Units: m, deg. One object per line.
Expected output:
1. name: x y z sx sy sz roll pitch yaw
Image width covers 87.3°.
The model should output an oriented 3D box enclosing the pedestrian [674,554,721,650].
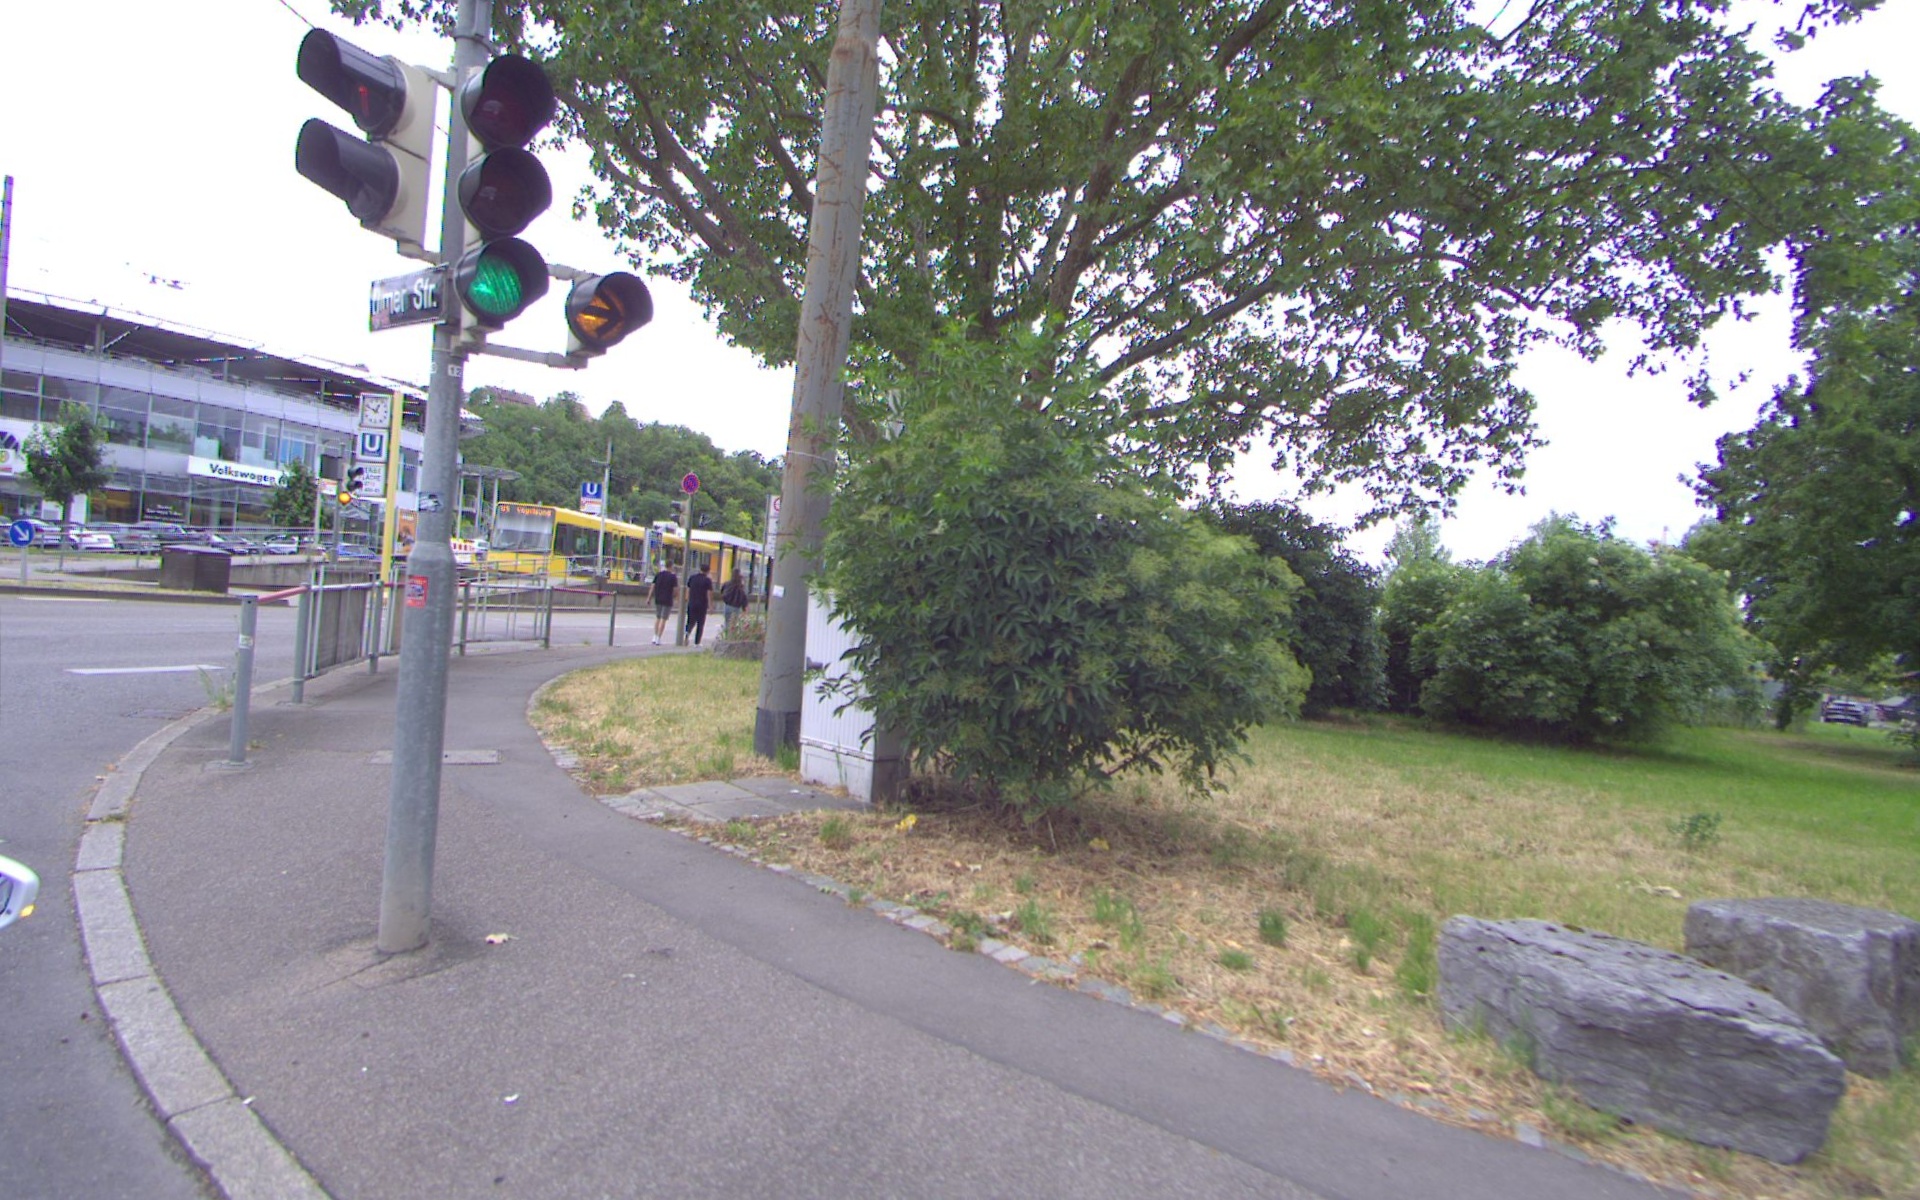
1. pedestrian: -5.349 0.047 20.525 0.593 1.890 0.672 5 0 4

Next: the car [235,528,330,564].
1. car: -37.092 -2.942 55.102 3.923 1.574 1.927 5 1 7

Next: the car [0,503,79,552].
1. car: -38.274 -3.008 40.388 3.926 1.571 1.930 6 -4 -1

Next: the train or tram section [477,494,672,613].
1. train or tram section: -15.469 -1.647 41.835 2.697 4.017 11.910 5 0 3

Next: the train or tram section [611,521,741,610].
1. train or tram section: -14.829 -1.634 53.795 2.697 4.017 11.910 5 0 3

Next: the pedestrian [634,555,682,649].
1. pedestrian: -6.424 0.057 21.433 0.593 1.888 0.673 5 -3 4

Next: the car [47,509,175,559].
1. car: -38.049 -2.928 45.165 3.926 1.571 1.930 6 -4 -1

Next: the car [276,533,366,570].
1. car: -36.975 -2.790 58.223 3.923 1.571 1.931 5 -4 7

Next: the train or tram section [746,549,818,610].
1. train or tram section: -13.575 -1.474 77.643 2.925 4.117 10.195 5 0 3

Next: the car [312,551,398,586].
1. car: -36.334 -1.891 60.451 3.923 1.571 1.931 5 -4 7

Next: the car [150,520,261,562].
1. car: -37.324 -2.890 49.861 3.926 1.574 1.926 6 1 -1

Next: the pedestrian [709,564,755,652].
1. pedestrian: -4.659 0.179 20.576 0.593 1.708 0.673 5 -3 4

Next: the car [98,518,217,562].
1. car: -37.788 -2.800 47.455 3.926 1.574 1.926 6 1 -1

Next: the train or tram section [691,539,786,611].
1. train or tram section: -14.199 -1.491 65.748 2.697 4.017 11.910 5 0 3

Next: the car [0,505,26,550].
1. car: -38.147 -2.981 37.900 3.926 1.571 1.930 6 -4 -1

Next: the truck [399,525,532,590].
1. truck: -29.285 -2.402 60.141 2.652 3.116 9.011 5 -1 5

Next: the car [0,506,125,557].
1. car: -38.394 -2.920 42.879 3.926 1.571 1.731 6 -4 -1

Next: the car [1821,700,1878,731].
1. car: 53.048 6.865 59.992 3.967 1.574 1.906 5 1 -40
